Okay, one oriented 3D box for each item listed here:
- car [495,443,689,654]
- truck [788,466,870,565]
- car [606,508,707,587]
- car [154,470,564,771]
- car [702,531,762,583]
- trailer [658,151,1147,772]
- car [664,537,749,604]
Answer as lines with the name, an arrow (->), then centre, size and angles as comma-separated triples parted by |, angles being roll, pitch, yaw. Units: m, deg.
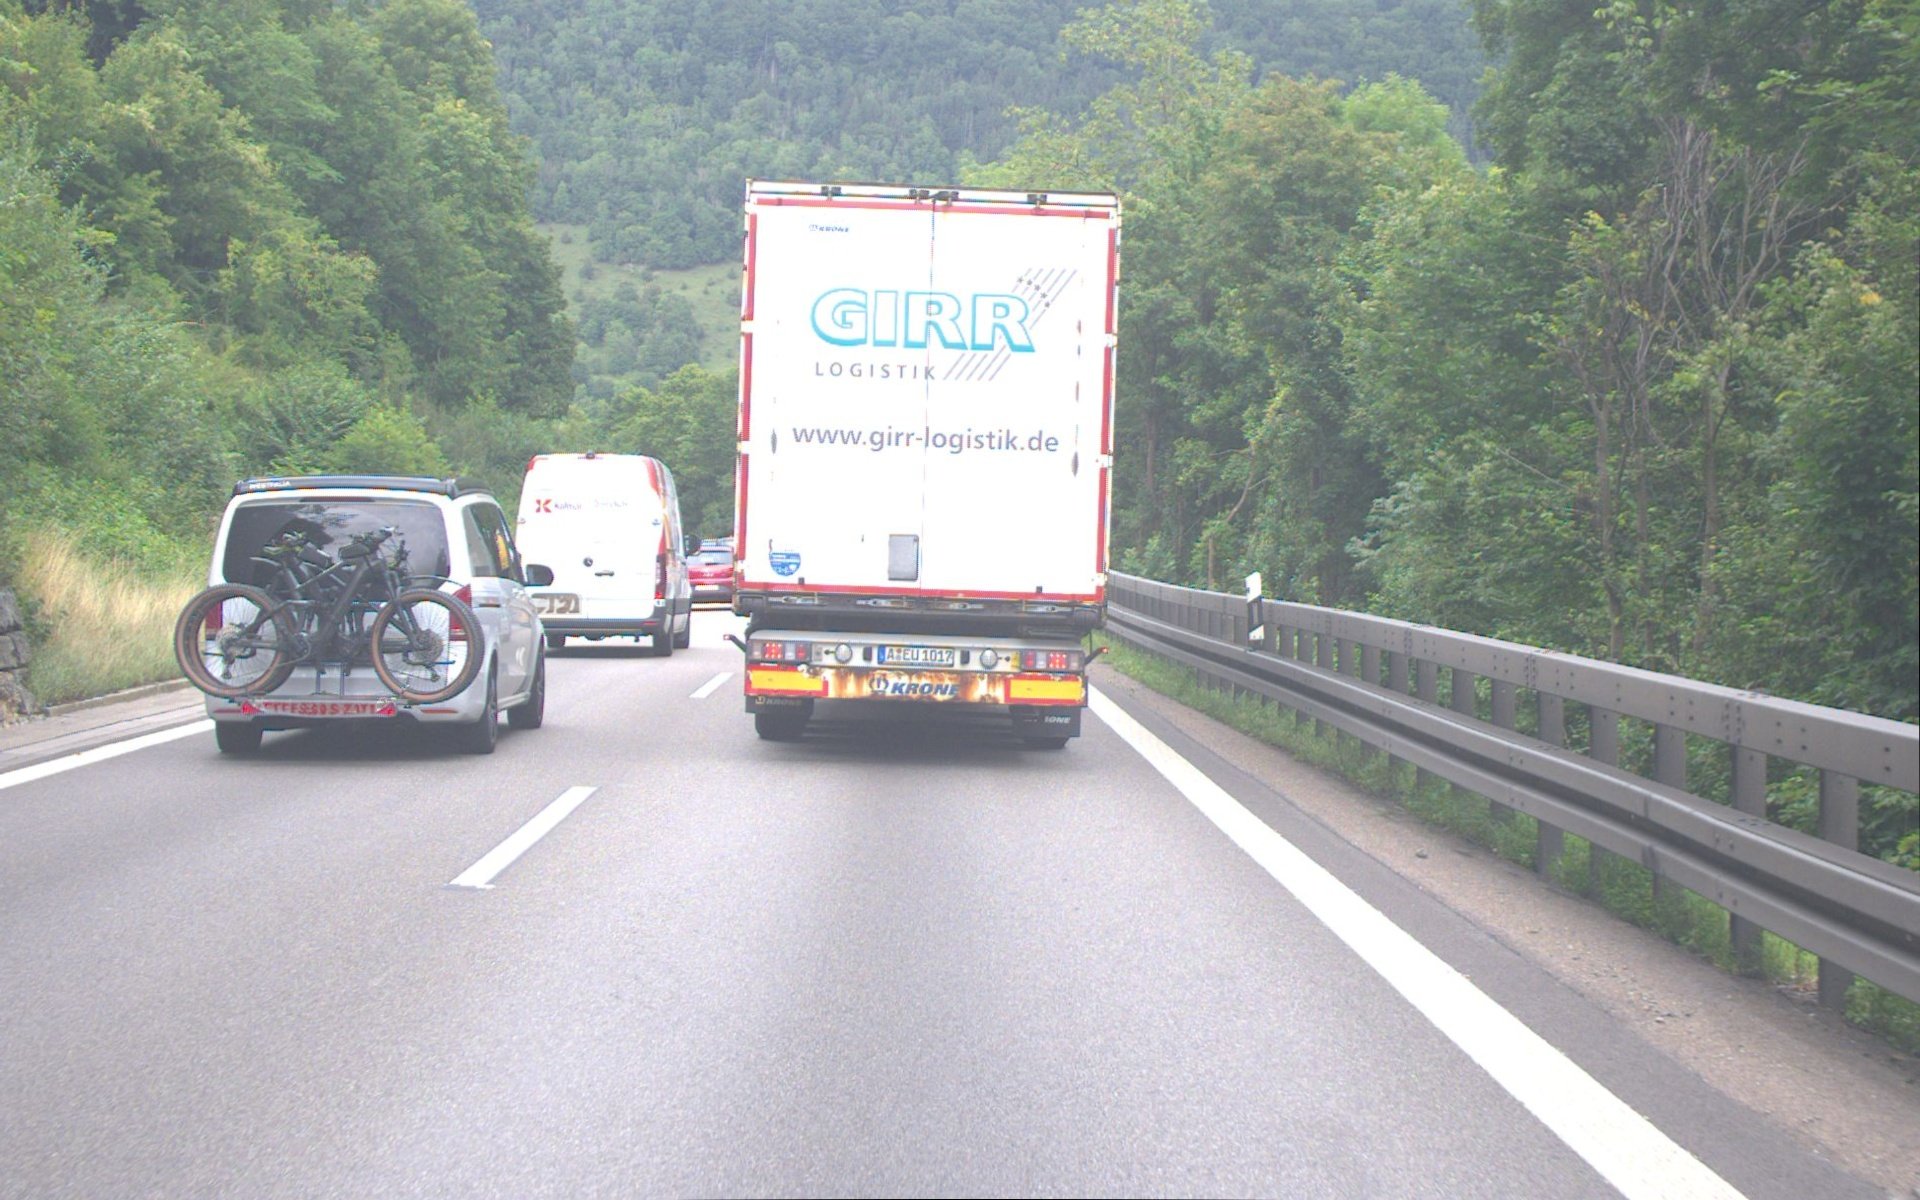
car -> -4.774, -0.697, 45.358 | 2.123, 2.589, 5.564 | -1, 1, -2
truck -> -5.219, -3.351, 138.394 | 3.068, 3.864, 8.459 | 0, 1, -1
car -> -5.960, -1.028, 67.906 | 1.683, 1.509, 3.765 | 0, 1, 0
car -> -4.166, 0.076, 24.769 | 2.018, 1.907, 5.564 | 0, 1, 0
car -> -7.803, -1.488, 117.889 | 1.836, 1.683, 4.419 | -2, 1, -2
trailer -> -0.420, -1.009, 27.518 | 3.133, 4.029, 9.440 | 2, 1, 0
car -> -5.673, -0.680, 77.249 | 1.683, 1.447, 3.765 | -1, 1, -1
